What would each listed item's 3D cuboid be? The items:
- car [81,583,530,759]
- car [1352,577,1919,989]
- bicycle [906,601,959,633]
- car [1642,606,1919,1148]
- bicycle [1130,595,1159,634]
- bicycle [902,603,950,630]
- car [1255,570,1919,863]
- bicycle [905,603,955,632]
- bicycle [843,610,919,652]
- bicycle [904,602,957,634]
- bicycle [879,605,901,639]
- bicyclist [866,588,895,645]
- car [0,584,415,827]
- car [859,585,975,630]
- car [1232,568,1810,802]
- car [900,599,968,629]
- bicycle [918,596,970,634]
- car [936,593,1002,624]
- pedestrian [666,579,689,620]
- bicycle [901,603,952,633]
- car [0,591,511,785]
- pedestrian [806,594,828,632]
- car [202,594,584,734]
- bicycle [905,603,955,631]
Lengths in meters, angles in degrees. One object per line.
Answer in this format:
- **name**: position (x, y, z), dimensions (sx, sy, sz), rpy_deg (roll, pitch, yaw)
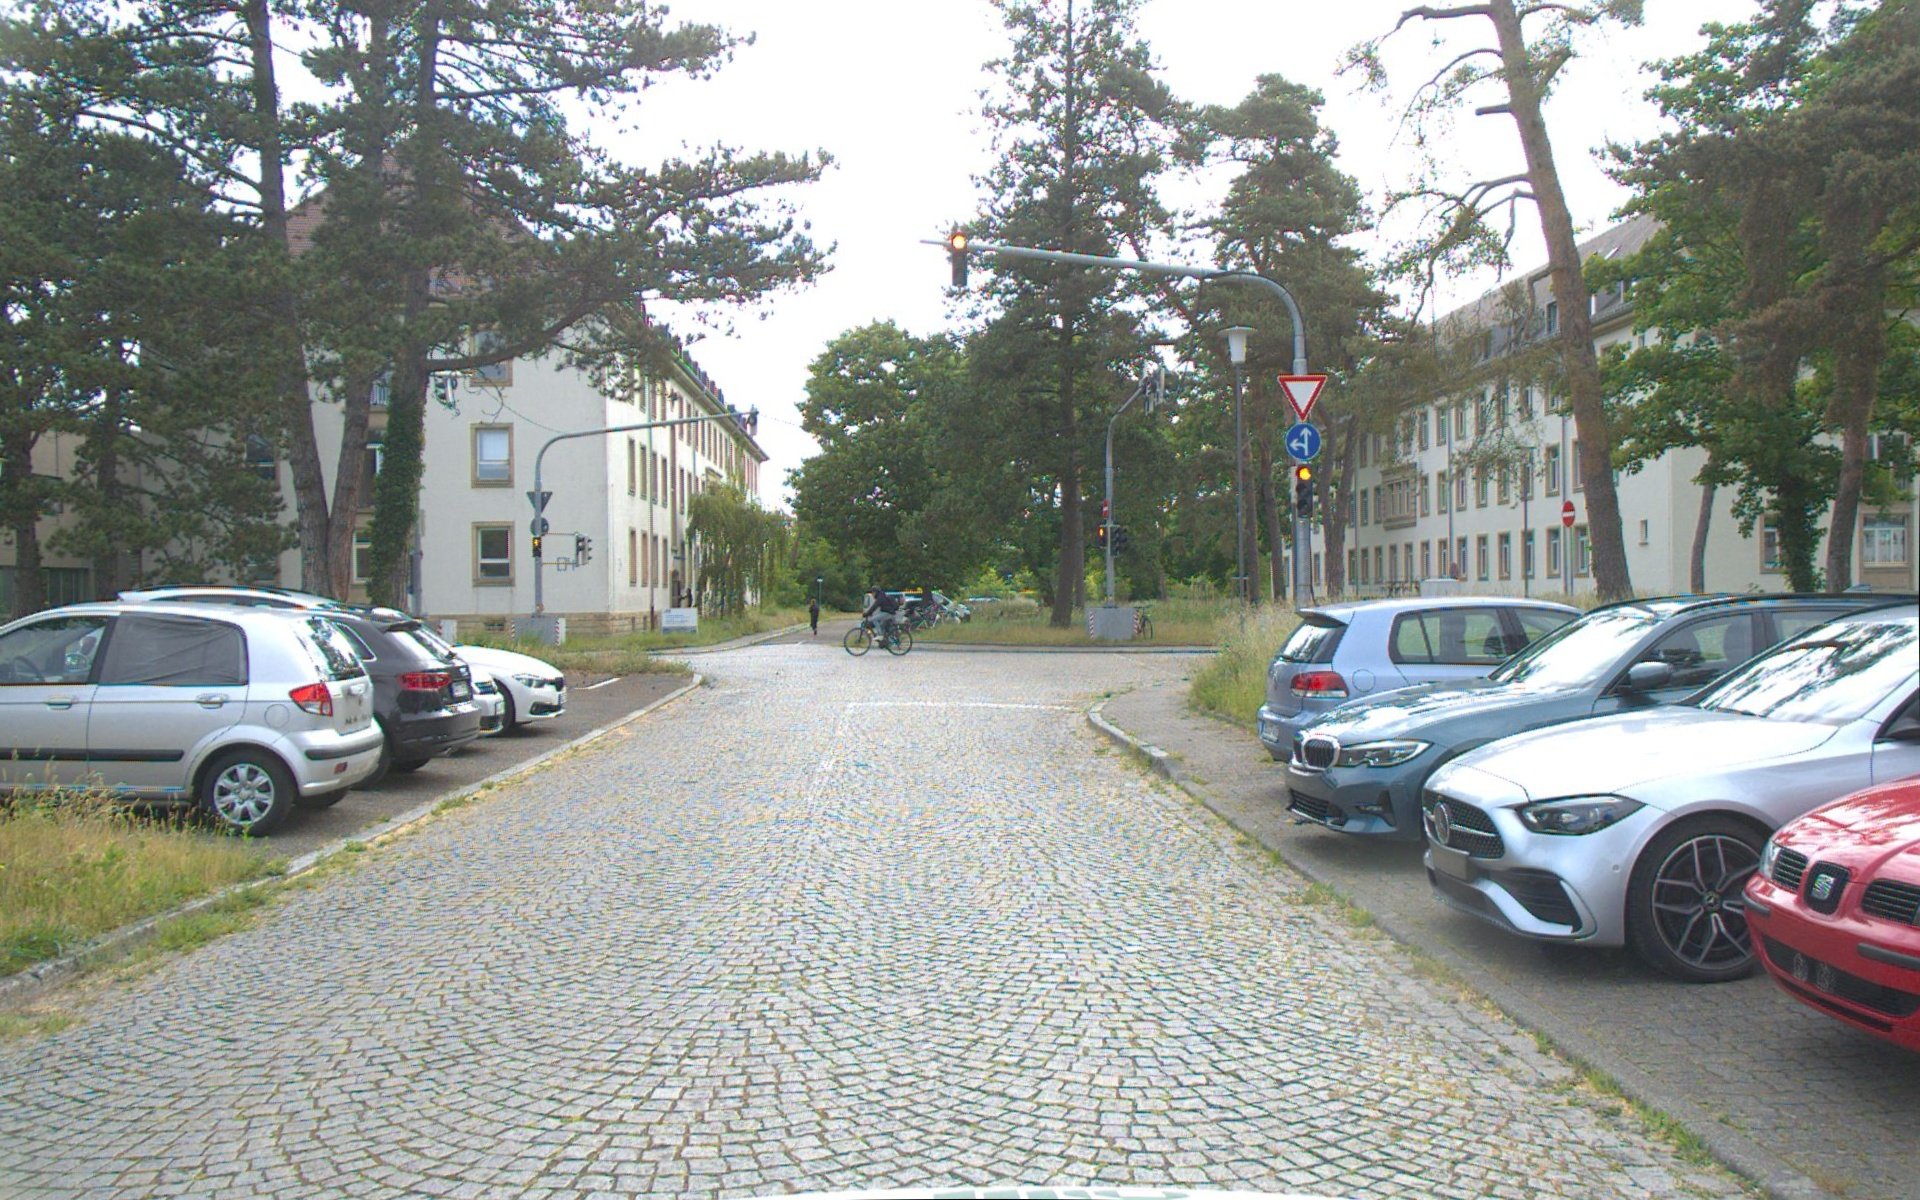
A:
- **car**: position (-6.525, 0.692, 16.836), dimensions (3.871, 1.590, 1.648), rpy_deg (2, 0, -5)
- **car**: position (4.239, 0.647, 7.585), dimensions (4.344, 1.441, 1.866), rpy_deg (-3, 0, -12)
- **bicycle**: position (-1.024, 0.642, 61.366), dimensions (1.919, 1.152, 0.587), rpy_deg (-1, 0, -9)
- **car**: position (4.691, 0.699, 5.335), dimensions (4.177, 1.441, 1.870), rpy_deg (-3, 0, -3)
- **bicycle**: position (5.511, 0.425, 49.535), dimensions (0.574, 1.125, 1.960), rpy_deg (-1, 0, -2)
- **bicycle**: position (-1.398, 0.669, 68.506), dimensions (1.932, 1.088, 0.583), rpy_deg (-1, 0, -27)
- **car**: position (4.346, 0.624, 10.278), dimensions (4.590, 1.441, 1.869), rpy_deg (-3, 0, -5)
- **bicycle**: position (-1.176, 0.687, 64.828), dimensions (1.936, 1.088, 0.581), rpy_deg (-1, 0, -32)
- **bicycle**: position (-2.040, 0.808, 42.762), dimensions (1.916, 1.042, 0.605), rpy_deg (-1, 0, -3)
- **bicycle**: position (-1.111, 0.665, 61.996), dimensions (1.919, 1.136, 0.587), rpy_deg (-1, 0, -9)
- **bicycle**: position (-2.474, 0.768, 58.105), dimensions (0.592, 1.152, 1.958), rpy_deg (-1, 0, -8)
- **bicyclist**: position (-2.047, 0.425, 42.751), dimensions (0.734, 1.435, 0.605), rpy_deg (-1, 0, -2)
- **car**: position (-5.861, 0.676, 11.480), dimensions (3.631, 1.505, 1.581), rpy_deg (2, 0, -5)
- **car**: position (-2.097, 0.347, 79.414), dimensions (5.266, 1.958, 2.019), rpy_deg (-2, 0, -12)
- **car**: position (4.177, 0.602, 12.723), dimensions (3.847, 1.503, 1.642), rpy_deg (-3, 0, -1)
- **car**: position (-1.223, 0.623, 75.916), dimensions (2.949, 1.290, 1.532), rpy_deg (-1, 0, -8)
- **bicycle**: position (-0.614, 0.576, 62.849), dimensions (1.919, 1.408, 0.587), rpy_deg (-1, 0, -9)
- **car**: position (0.431, 0.422, 83.407), dimensions (3.169, 1.441, 1.723), rpy_deg (-1, 0, -5)
- **pedestrian**: position (-13.078, -0.030, 76.589), dimensions (0.767, 1.869, 0.732), rpy_deg (-1, 0, -34)
- **bicycle**: position (-1.272, 0.689, 63.473), dimensions (1.936, 1.088, 0.581), rpy_deg (-1, 0, -32)
- **car**: position (-5.866, 0.712, 14.078), dimensions (3.673, 1.453, 1.581), rpy_deg (2, 0, -5)
- **pedestrian**: position (-6.339, 0.565, 73.296), dimensions (0.730, 1.647, 0.769), rpy_deg (-1, 0, -28)
- **car**: position (-6.535, 0.723, 19.374), dimensions (3.869, 1.446, 1.649), rpy_deg (2, 0, -3)
- **bicycle**: position (-1.204, 0.671, 66.182), dimensions (1.932, 1.088, 0.583), rpy_deg (-1, 0, -27)
